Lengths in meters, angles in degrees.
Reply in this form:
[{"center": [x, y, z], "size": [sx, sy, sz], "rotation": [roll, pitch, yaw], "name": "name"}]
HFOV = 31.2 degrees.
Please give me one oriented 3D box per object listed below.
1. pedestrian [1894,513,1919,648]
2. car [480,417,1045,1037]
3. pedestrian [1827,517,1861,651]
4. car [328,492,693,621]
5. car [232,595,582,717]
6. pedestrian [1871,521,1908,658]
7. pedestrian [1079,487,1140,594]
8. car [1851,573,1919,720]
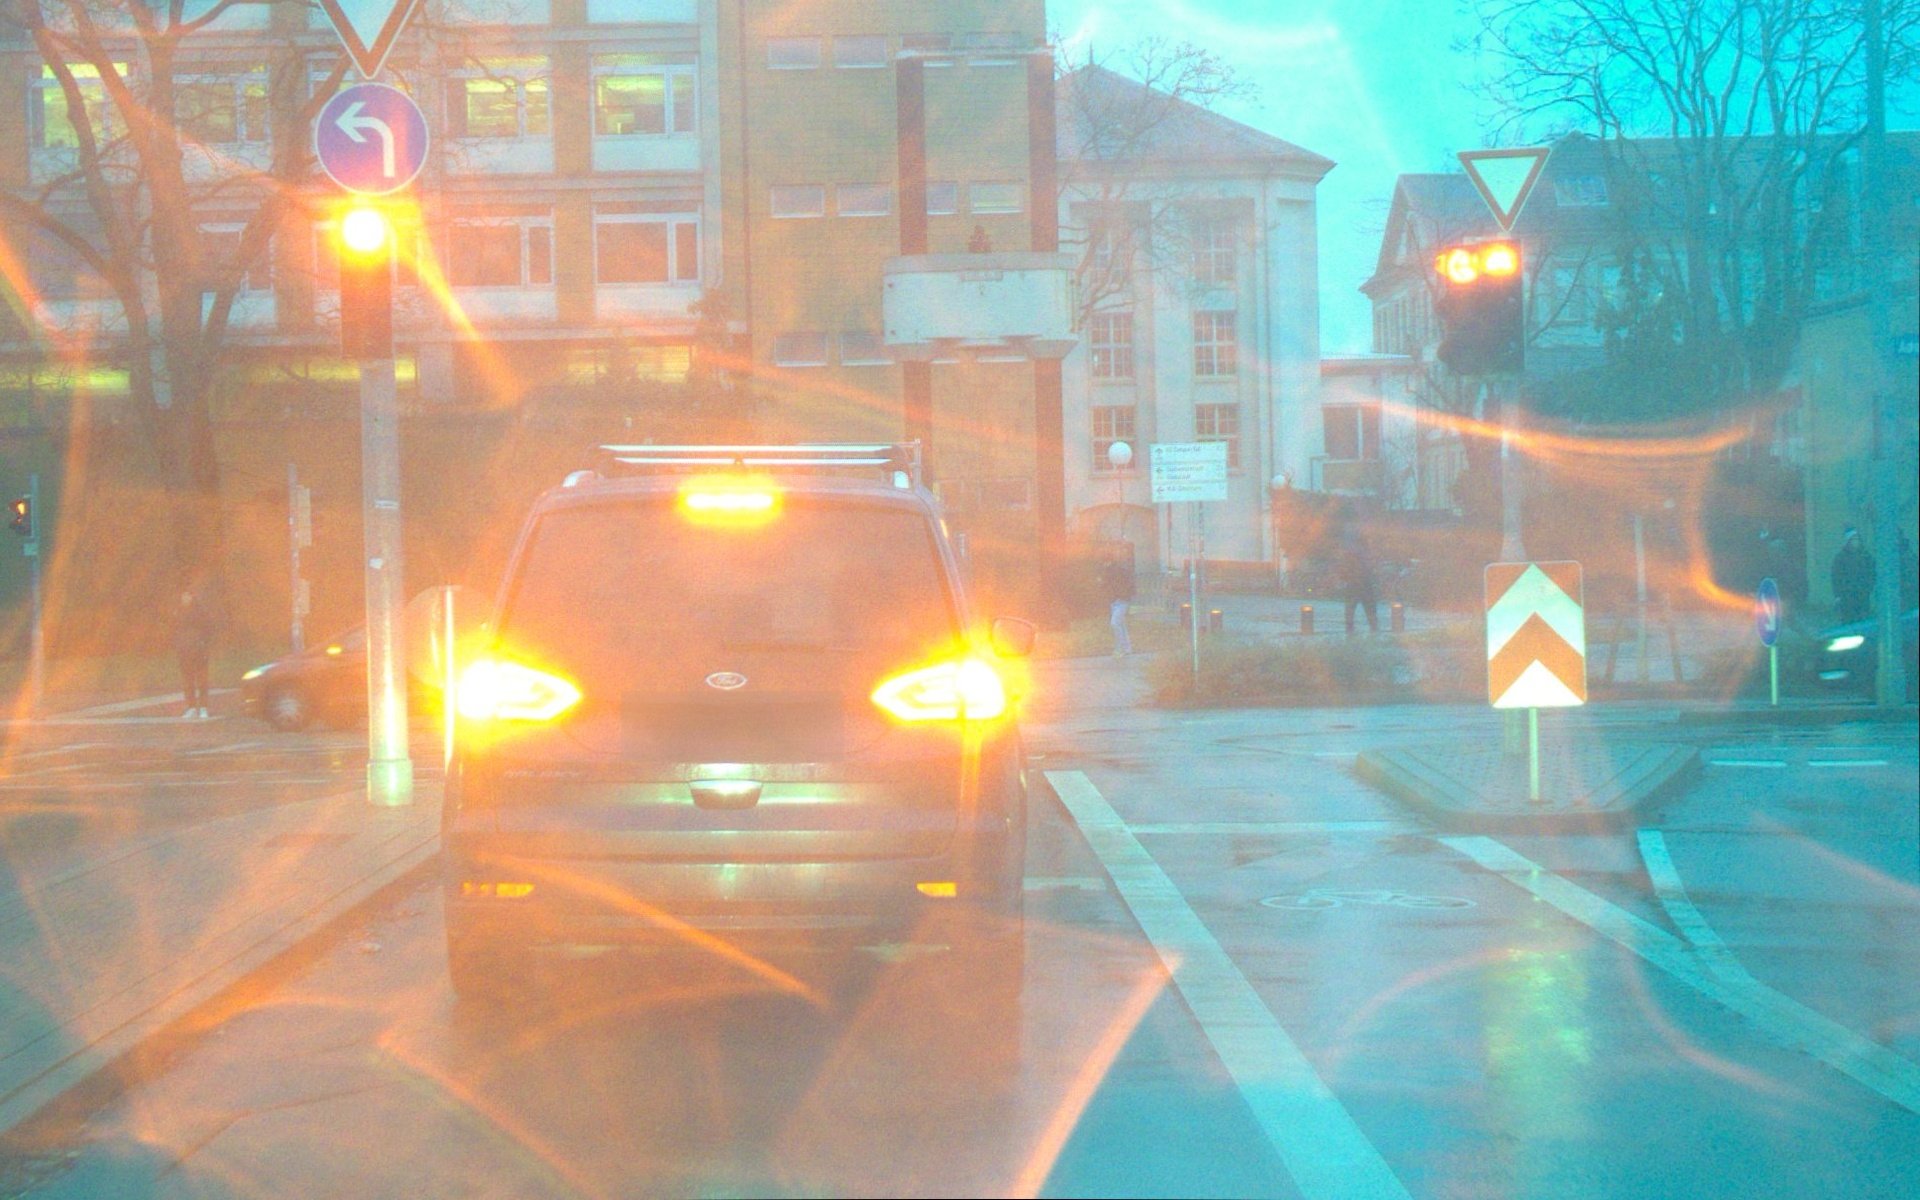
[{"center": [13.042, -0.260, 47.107], "size": [0.438, 1.832, 0.459], "rotation": [0, -1, 18], "name": "pedestrian"}, {"center": [-0.610, 0.333, 12.083], "size": [1.647, 1.812, 4.000], "rotation": [0, 1, -1], "name": "car"}, {"center": [12.224, -0.219, 47.542], "size": [0.438, 1.832, 0.459], "rotation": [0, -1, 17], "name": "pedestrian"}, {"center": [-7.244, -0.698, 55.748], "size": [5.548, 2.017, 1.999], "rotation": [0, -1, 5], "name": "car"}, {"center": [-6.556, 0.661, 40.899], "size": [3.791, 1.393, 1.564], "rotation": [0, -1, 12], "name": "car"}, {"center": [12.512, -0.133, 46.272], "size": [0.458, 1.832, 0.438], "rotation": [0, -1, 17], "name": "pedestrian"}, {"center": [2.356, -0.931, 54.113], "size": [0.684, 1.655, 0.677], "rotation": [1, -1, -34], "name": "pedestrian"}, {"center": [12.043, 0.514, 37.500], "size": [4.435, 1.575, 1.967], "rotation": [0, -1, 13], "name": "car"}]
